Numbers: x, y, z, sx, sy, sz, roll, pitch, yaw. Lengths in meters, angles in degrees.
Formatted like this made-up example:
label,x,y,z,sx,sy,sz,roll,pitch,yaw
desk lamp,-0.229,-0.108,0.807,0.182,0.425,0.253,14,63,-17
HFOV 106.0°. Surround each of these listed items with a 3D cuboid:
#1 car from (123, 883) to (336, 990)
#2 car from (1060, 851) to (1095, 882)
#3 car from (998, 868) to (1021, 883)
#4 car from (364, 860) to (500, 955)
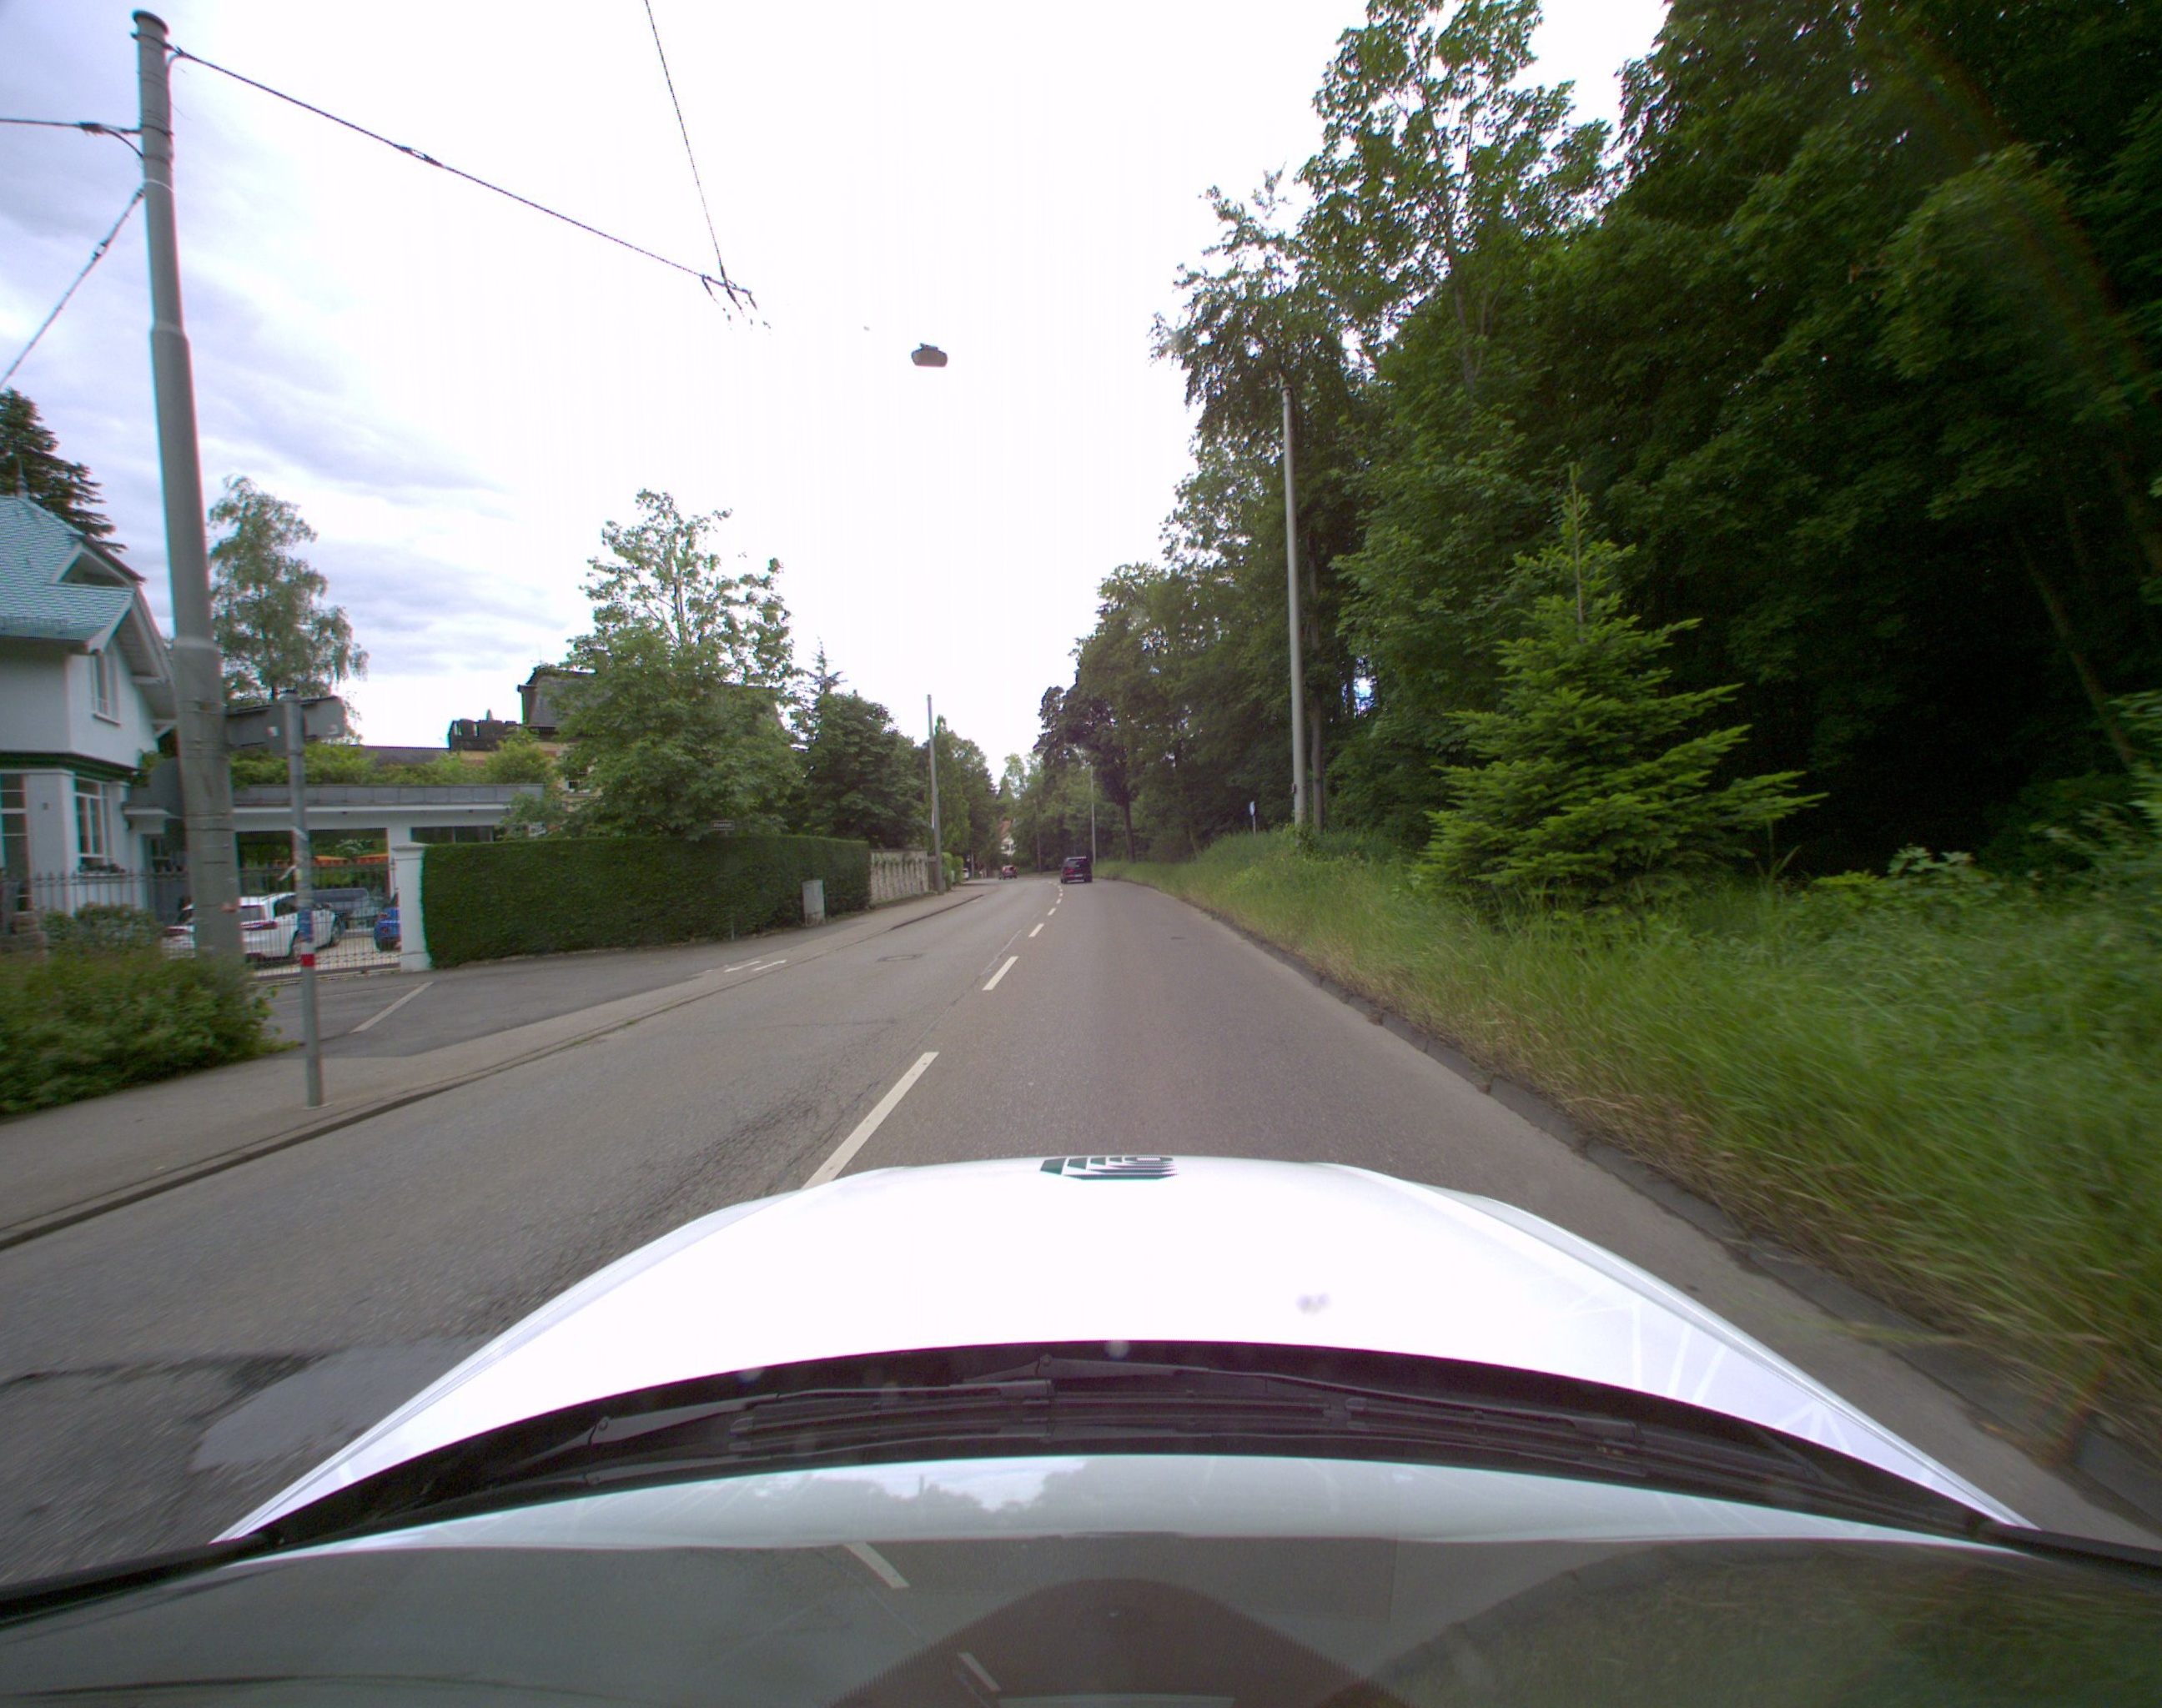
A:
label,x,y,z,sx,sy,sz,roll,pitch,yaw
car,-17.708,1.594,17.212,2.007,1.683,3.961,-3,2,-30
car,-0.264,0.822,54.164,1.990,1.881,3.994,-3,0,-4
car,-8.878,2.600,100.229,1.998,1.618,3.977,-3,0,-17
car,-15.803,1.195,20.079,2.007,1.888,3.961,-3,2,-31
